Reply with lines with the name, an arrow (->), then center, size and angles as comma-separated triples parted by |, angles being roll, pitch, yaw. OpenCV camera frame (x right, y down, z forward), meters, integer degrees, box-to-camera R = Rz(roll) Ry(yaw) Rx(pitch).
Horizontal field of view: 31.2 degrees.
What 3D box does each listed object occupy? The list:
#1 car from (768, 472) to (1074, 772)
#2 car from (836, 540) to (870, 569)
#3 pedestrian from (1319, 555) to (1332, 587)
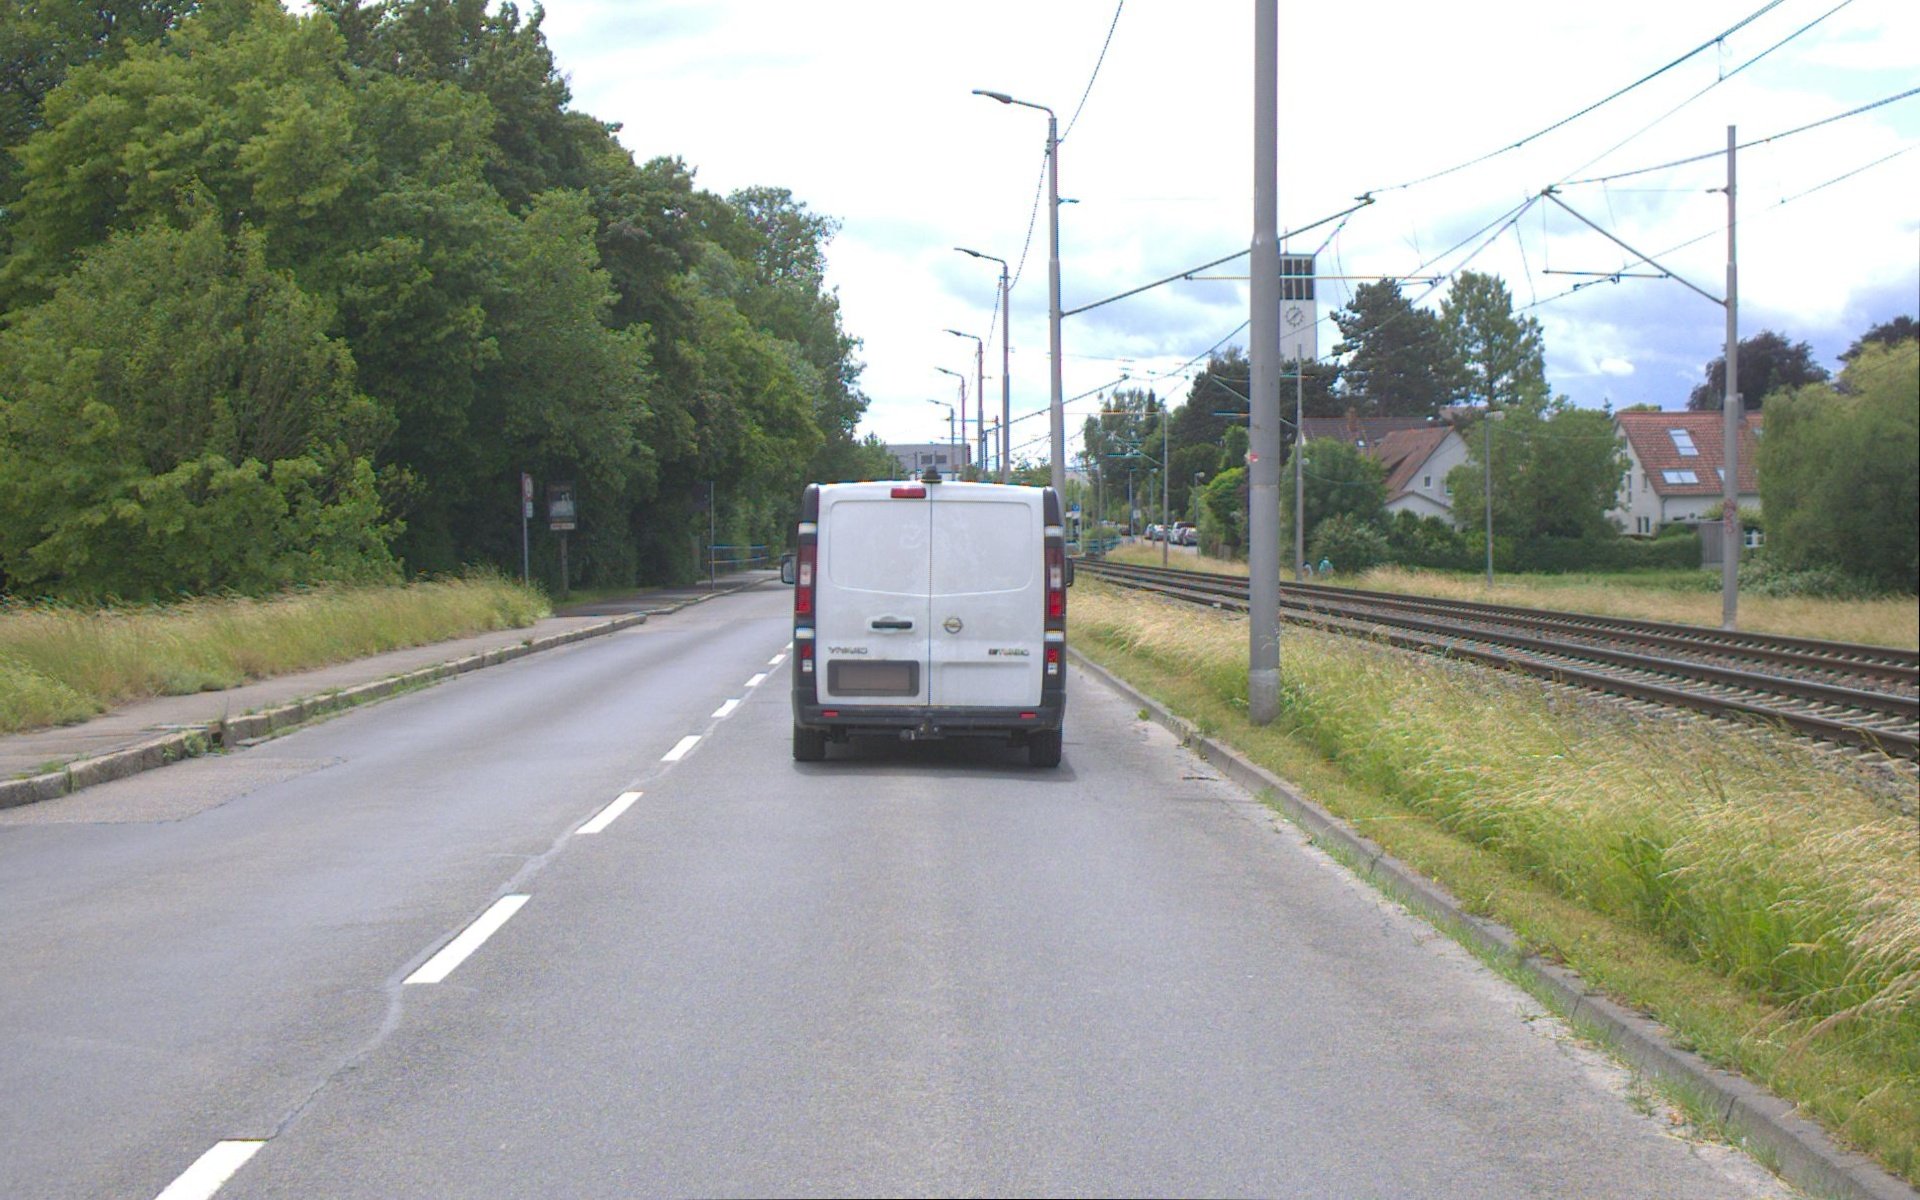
car -> -0.321, 0.132, 24.559 | 1.993, 1.950, 4.000 | 0, 0, -2
car -> -6.415, -2.739, 205.807 | 1.993, 1.711, 4.124 | 0, 1, -1
pedestrian -> 16.936, -1.334, 159.189 | 0.526, 1.501, 0.657 | 0, 1, -1
